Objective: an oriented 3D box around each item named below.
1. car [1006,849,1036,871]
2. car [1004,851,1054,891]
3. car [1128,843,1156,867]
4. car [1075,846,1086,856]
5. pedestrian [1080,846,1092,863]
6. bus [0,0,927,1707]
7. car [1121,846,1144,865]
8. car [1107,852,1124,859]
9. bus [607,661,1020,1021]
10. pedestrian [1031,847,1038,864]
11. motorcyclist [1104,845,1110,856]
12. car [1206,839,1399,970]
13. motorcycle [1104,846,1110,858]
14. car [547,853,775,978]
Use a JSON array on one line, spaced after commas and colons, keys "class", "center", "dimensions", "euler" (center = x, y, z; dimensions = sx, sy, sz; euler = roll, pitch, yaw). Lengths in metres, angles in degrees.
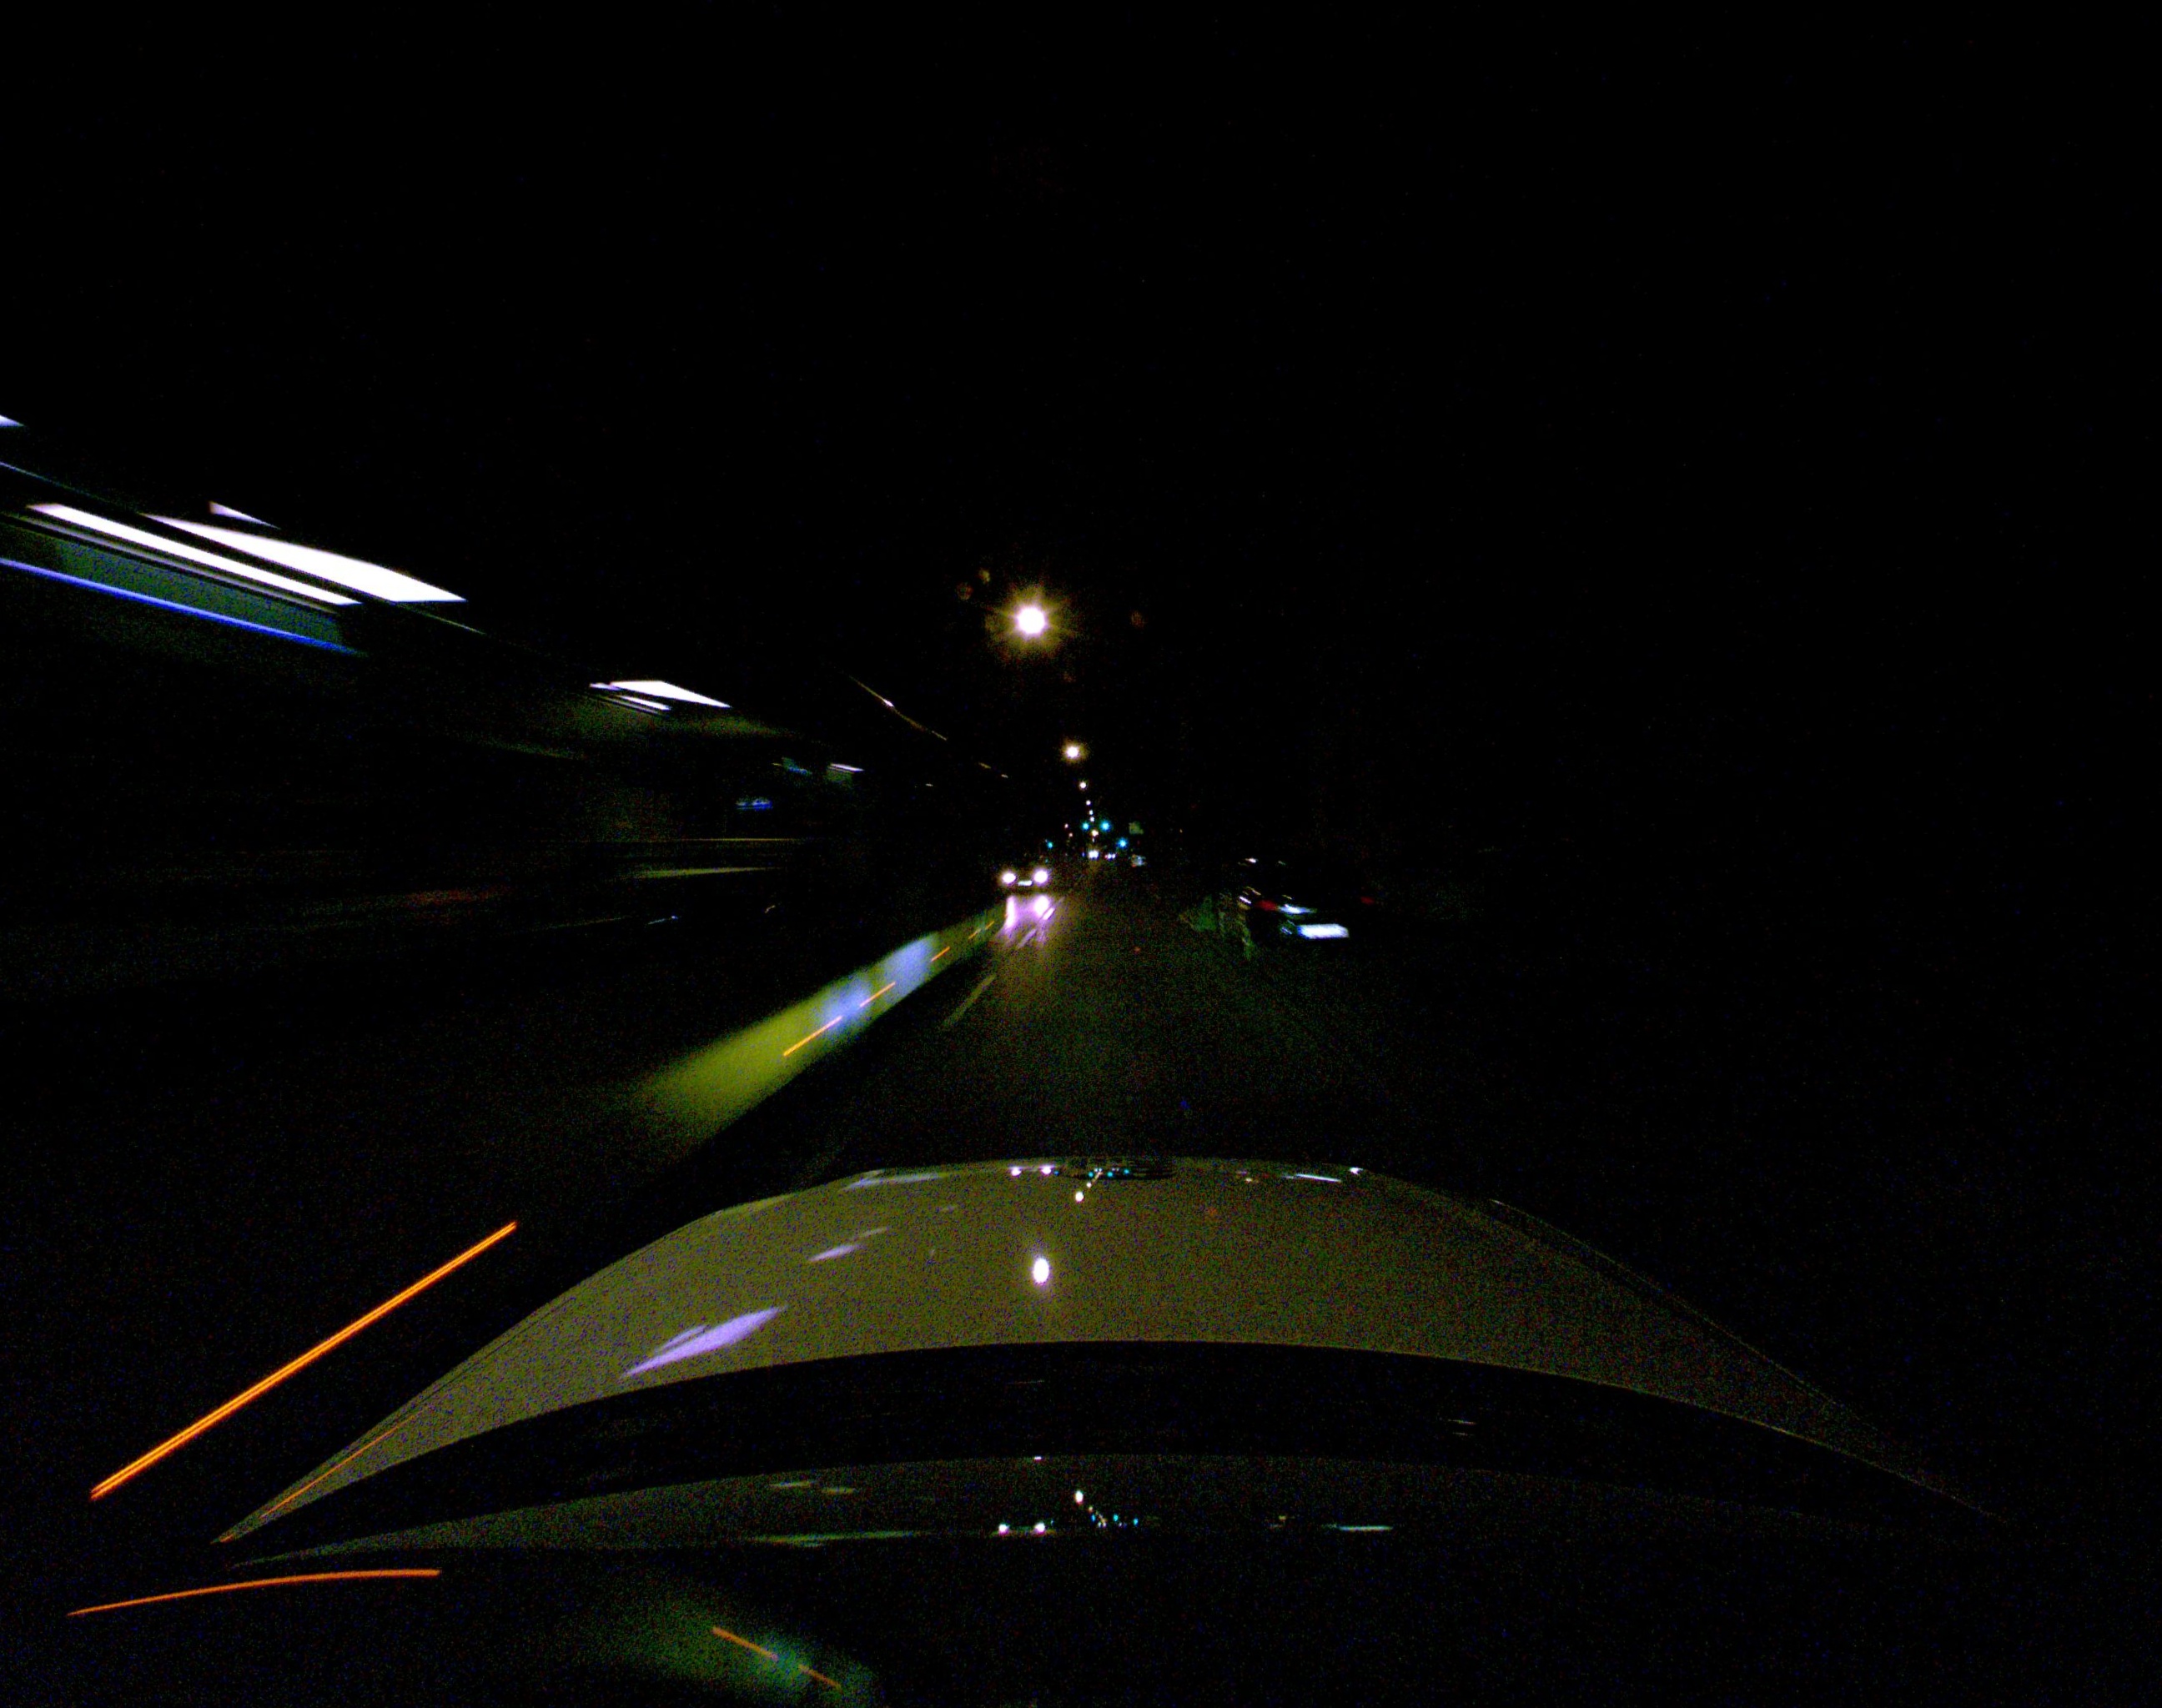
[{"class": "car", "center": [-4.119, 0.392, 56.711], "dimensions": [1.715, 1.437, 4.809], "euler": [-2, 0, 0]}, {"class": "car", "center": [-2.050, 0.649, 33.040], "dimensions": [1.640, 1.422, 3.871], "euler": [-3, 1, 0]}, {"class": "car", "center": [4.484, 0.055, 60.683], "dimensions": [1.805, 1.594, 4.275], "euler": [-4, 1, 1]}, {"class": "car", "center": [-0.008, -0.506, 152.222], "dimensions": [1.937, 1.717, 4.001], "euler": [-1, -1, 2]}, {"class": "pedestrian", "center": [0.523, 0.095, 82.381], "dimensions": [0.931, 1.699, 0.758], "euler": [1, 0, -35]}, {"class": "bus", "center": [-2.954, -0.066, 1.975], "dimensions": [2.827, 3.177, 10.502], "euler": [-1, 0, 2]}, {"class": "car", "center": [4.683, 0.096, 74.115], "dimensions": [1.862, 1.526, 4.151], "euler": [-4, 1, 1]}, {"class": "car", "center": [7.820, 0.306, 184.265], "dimensions": [1.699, 1.457, 3.946], "euler": [-2, -1, 44]}, {"class": "bus", "center": [-2.694, -0.142, 11.142], "dimensions": [2.827, 3.177, 7.664], "euler": [-1, 0, 2]}, {"class": "pedestrian", "center": [-4.908, 0.167, 86.163], "dimensions": [0.717, 1.765, 0.602], "euler": [-1, -1, -7]}, {"class": "motorcyclist", "center": [4.043, -0.521, 127.207], "dimensions": [0.845, 1.752, 0.806], "euler": [-1, -1, 1]}, {"class": "car", "center": [3.008, 0.589, 11.940], "dimensions": [1.756, 1.476, 4.082], "euler": [-4, 1, 2]}, {"class": "motorcycle", "center": [4.049, -0.333, 127.190], "dimensions": [0.927, 1.752, 2.625], "euler": [-1, -1, 2]}, {"class": "car", "center": [-5.741, 0.775, 11.491], "dimensions": [1.632, 1.498, 2.767], "euler": [-2, -1, 3]}]
